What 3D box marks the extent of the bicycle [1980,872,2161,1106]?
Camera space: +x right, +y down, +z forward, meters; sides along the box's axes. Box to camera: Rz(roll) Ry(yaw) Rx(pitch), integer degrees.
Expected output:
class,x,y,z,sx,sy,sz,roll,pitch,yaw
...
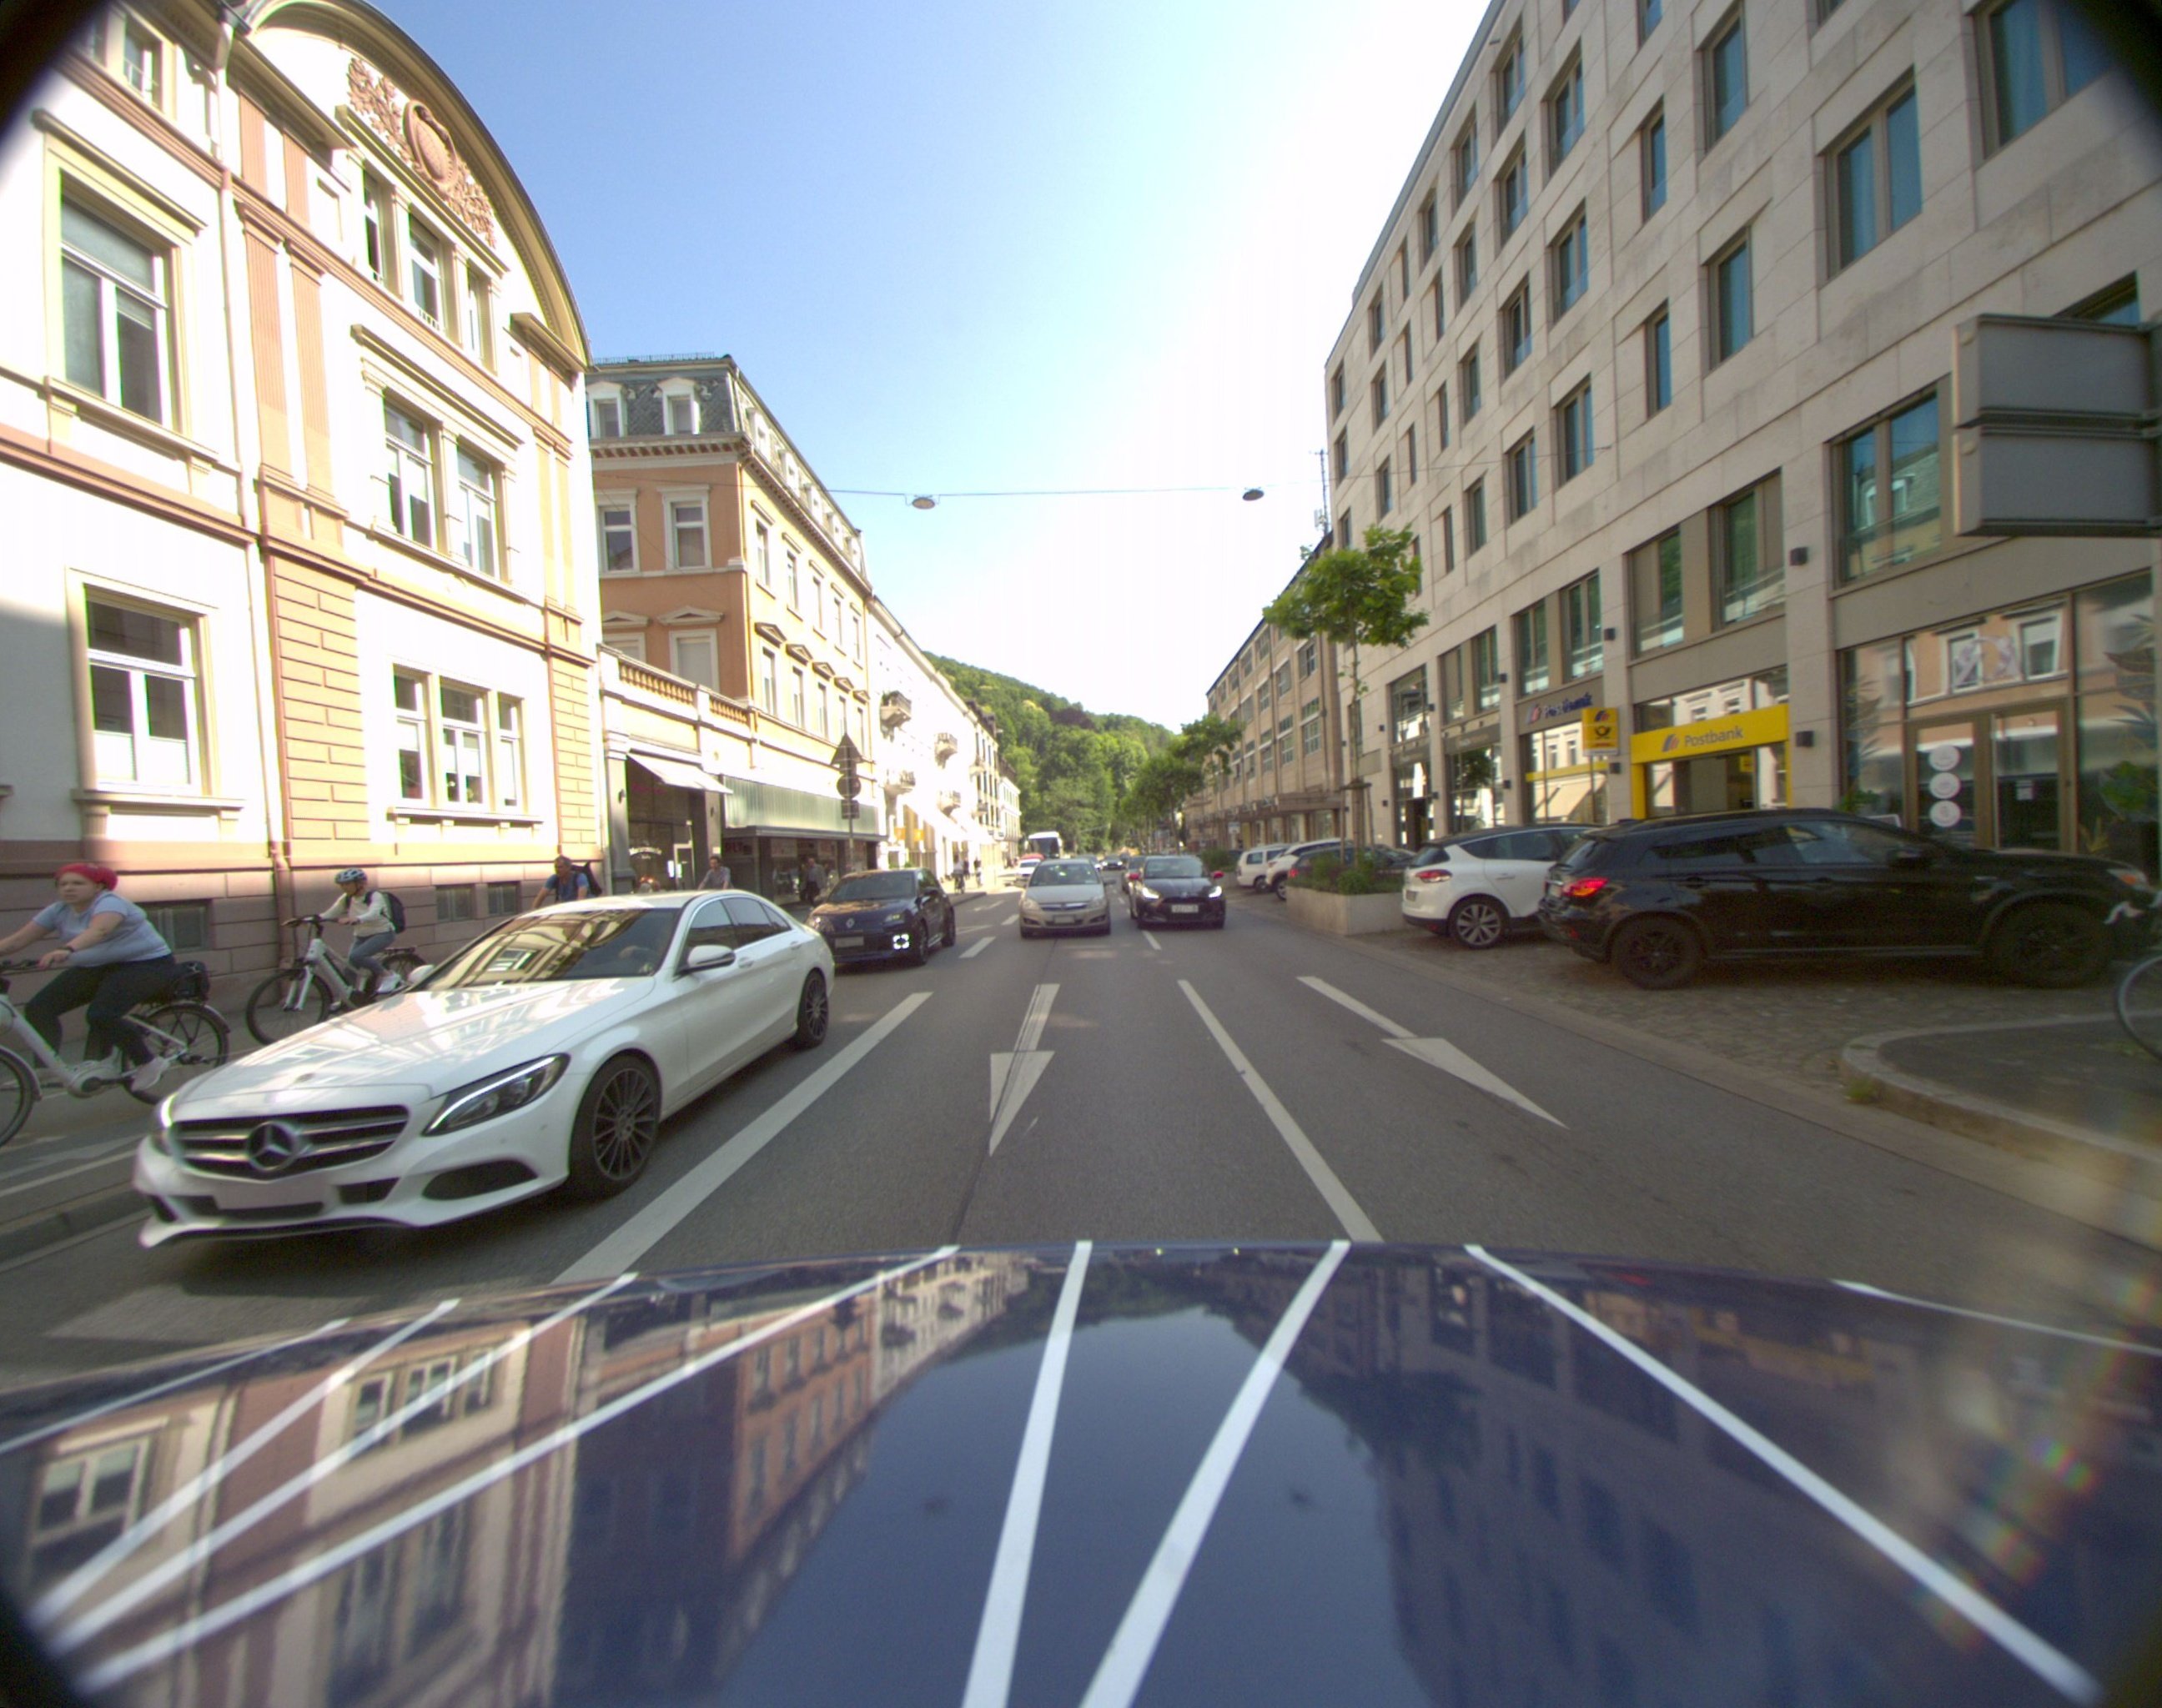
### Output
class,x,y,z,sx,sy,sz,roll,pitch,yaw
bicycle,6.284,0.651,4.095,2.145,1.120,0.485,-5,0,2

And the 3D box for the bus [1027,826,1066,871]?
class,x,y,z,sx,sy,sz,roll,pitch,yaw
bus,-2.921,-0.520,67.910,2.924,3.516,12.497,-2,1,-1

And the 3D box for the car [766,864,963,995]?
class,x,y,z,sx,sy,sz,roll,pitch,yaw
car,-3.302,1.071,12.585,1.891,1.483,4.289,-5,1,0

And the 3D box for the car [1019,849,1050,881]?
class,x,y,z,sx,sy,sz,roll,pitch,yaw
car,-3.117,0.738,52.024,1.703,1.901,4.607,-7,0,-1

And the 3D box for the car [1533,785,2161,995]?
class,x,y,z,sx,sy,sz,roll,pitch,yaw
car,6.947,0.369,7.453,4.026,1.593,1.961,-5,2,24

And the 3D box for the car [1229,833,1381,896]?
class,x,y,z,sx,sy,sz,roll,pitch,yaw
car,7.322,0.349,24.863,4.493,1.424,1.865,-8,0,21

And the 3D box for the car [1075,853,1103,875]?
class,x,y,z,sx,sy,sz,roll,pitch,yaw
car,0.557,0.678,51.968,1.775,1.469,4.107,-1,-1,1

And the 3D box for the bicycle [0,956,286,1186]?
class,x,y,z,sx,sy,sz,roll,pitch,yaw
bicycle,-6.606,1.365,4.897,0.737,1.120,2.034,-1,0,2

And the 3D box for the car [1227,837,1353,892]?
class,x,y,z,sx,sy,sz,roll,pitch,yaw
car,7.586,0.342,27.857,3.997,1.519,1.819,-6,2,0

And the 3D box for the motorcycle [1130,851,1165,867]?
class,x,y,z,sx,sy,sz,roll,pitch,yaw
motorcycle,5.818,0.465,66.653,0.980,1.342,3.095,-3,1,-42

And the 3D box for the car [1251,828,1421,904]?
class,x,y,z,sx,sy,sz,roll,pitch,yaw
car,7.120,0.352,21.359,4.029,1.584,1.822,-8,0,34

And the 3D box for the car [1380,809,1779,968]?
class,x,y,z,sx,sy,sz,roll,pitch,yaw
car,6.773,0.454,10.867,4.166,1.627,2.103,-7,1,9

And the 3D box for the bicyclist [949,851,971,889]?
class,x,y,z,sx,sy,sz,roll,pitch,yaw
bicyclist,-5.563,0.704,34.888,0.747,1.693,1.036,-2,1,1

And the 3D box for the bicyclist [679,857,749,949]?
class,x,y,z,sx,sy,sz,roll,pitch,yaw
bicyclist,-7.209,0.938,14.980,0.910,1.707,0.844,-2,1,-2

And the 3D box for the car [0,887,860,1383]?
class,x,y,z,sx,sy,sz,roll,pitch,yaw
car,-3.245,1.126,5.166,1.957,1.417,4.885,-5,0,0

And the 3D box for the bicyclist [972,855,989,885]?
class,x,y,z,sx,sy,sz,roll,pitch,yaw
bicyclist,-5.408,0.835,40.939,0.747,1.564,0.844,-2,1,1

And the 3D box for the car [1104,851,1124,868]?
class,x,y,z,sx,sy,sz,roll,pitch,yaw
car,3.064,0.486,70.769,1.733,1.389,4.106,-3,0,1

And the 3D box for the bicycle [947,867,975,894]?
class,x,y,z,sx,sy,sz,roll,pitch,yaw
bicycle,-5.528,1.213,35.210,0.743,1.120,2.573,-1,1,2

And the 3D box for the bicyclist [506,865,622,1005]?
class,x,y,z,sx,sy,sz,roll,pitch,yaw
bicyclist,-6.714,1.021,9.921,0.840,1.707,0.844,-2,1,1

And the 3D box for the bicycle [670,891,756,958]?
class,x,y,z,sx,sy,sz,roll,pitch,yaw
bicycle,-7.204,1.346,14.981,0.748,1.111,1.918,-2,0,-1

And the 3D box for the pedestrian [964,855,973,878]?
class,x,y,z,sx,sy,sz,roll,pitch,yaw
pedestrian,-8.215,0.929,55.462,0.482,1.659,0.868,-2,1,1

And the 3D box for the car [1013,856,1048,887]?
class,x,y,z,sx,sy,sz,roll,pitch,yaw
car,-3.015,1.020,46.316,1.799,1.516,4.262,-6,1,-1

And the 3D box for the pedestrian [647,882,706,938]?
class,x,y,z,sx,sy,sz,roll,pitch,yaw
pedestrian,-9.735,1.339,18.320,1.088,1.308,0.625,0,1,0

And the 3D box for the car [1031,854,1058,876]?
class,x,y,z,sx,sy,sz,roll,pitch,yaw
car,-2.690,0.767,57.035,1.868,1.479,4.414,-3,0,-1

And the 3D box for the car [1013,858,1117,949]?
class,x,y,z,sx,sy,sz,roll,pitch,yaw
car,-0.333,0.885,15.677,1.791,1.484,4.367,-3,1,-1

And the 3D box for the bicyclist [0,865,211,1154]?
class,x,y,z,sx,sy,sz,roll,pitch,yaw
bicyclist,-6.588,0.952,4.986,0.684,1.707,0.844,-2,1,1

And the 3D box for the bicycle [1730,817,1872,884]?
class,x,y,z,sx,sy,sz,roll,pitch,yaw
bicycle,13.083,-0.067,13.916,0.497,1.101,2.161,-5,0,1

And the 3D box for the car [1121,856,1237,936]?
class,x,y,z,sx,sy,sz,roll,pitch,yaw
car,1.973,0.824,16.470,1.868,1.469,4.106,-2,-1,-1

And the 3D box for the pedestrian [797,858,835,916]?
class,x,y,z,sx,sy,sz,roll,pitch,yaw
pedestrian,-8.456,1.033,24.249,0.840,1.781,0.767,-2,1,1

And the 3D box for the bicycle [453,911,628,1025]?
class,x,y,z,sx,sy,sz,roll,pitch,yaw
bicycle,-6.703,1.363,9.582,0.664,1.111,1.992,-2,0,2

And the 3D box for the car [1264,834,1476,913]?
class,x,y,z,sx,sy,sz,roll,pitch,yaw
car,6.844,0.488,18.160,4.308,1.441,1.790,-6,0,35

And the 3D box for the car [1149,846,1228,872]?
class,x,y,z,sx,sy,sz,roll,pitch,yaw
car,7.345,0.374,52.127,5.120,1.623,1.847,-2,0,40

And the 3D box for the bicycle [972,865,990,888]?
class,x,y,z,sx,sy,sz,roll,pitch,yaw
bicycle,-5.393,1.181,41.032,0.596,1.120,2.093,-1,1,2

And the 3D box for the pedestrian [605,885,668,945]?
class,x,y,z,sx,sy,sz,roll,pitch,yaw
pedestrian,-10.314,1.408,17.643,1.032,1.308,0.625,-2,1,0

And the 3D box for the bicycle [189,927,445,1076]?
class,x,y,z,sx,sy,sz,roll,pitch,yaw
bicycle,-7.543,1.396,7.655,0.607,1.120,1.860,-1,1,2

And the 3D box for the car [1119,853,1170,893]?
class,x,y,z,sx,sy,sz,roll,pitch,yaw
car,2.457,0.700,30.390,1.733,1.389,4.106,-2,1,1

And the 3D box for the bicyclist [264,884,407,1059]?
class,x,y,z,sx,sy,sz,roll,pitch,yaw
bicyclist,-7.522,1.146,7.711,0.516,1.627,0.844,-2,1,1

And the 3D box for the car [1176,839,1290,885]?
class,x,y,z,sx,sy,sz,roll,pitch,yaw
car,6.822,0.384,34.247,4.521,1.496,1.795,-7,1,31
